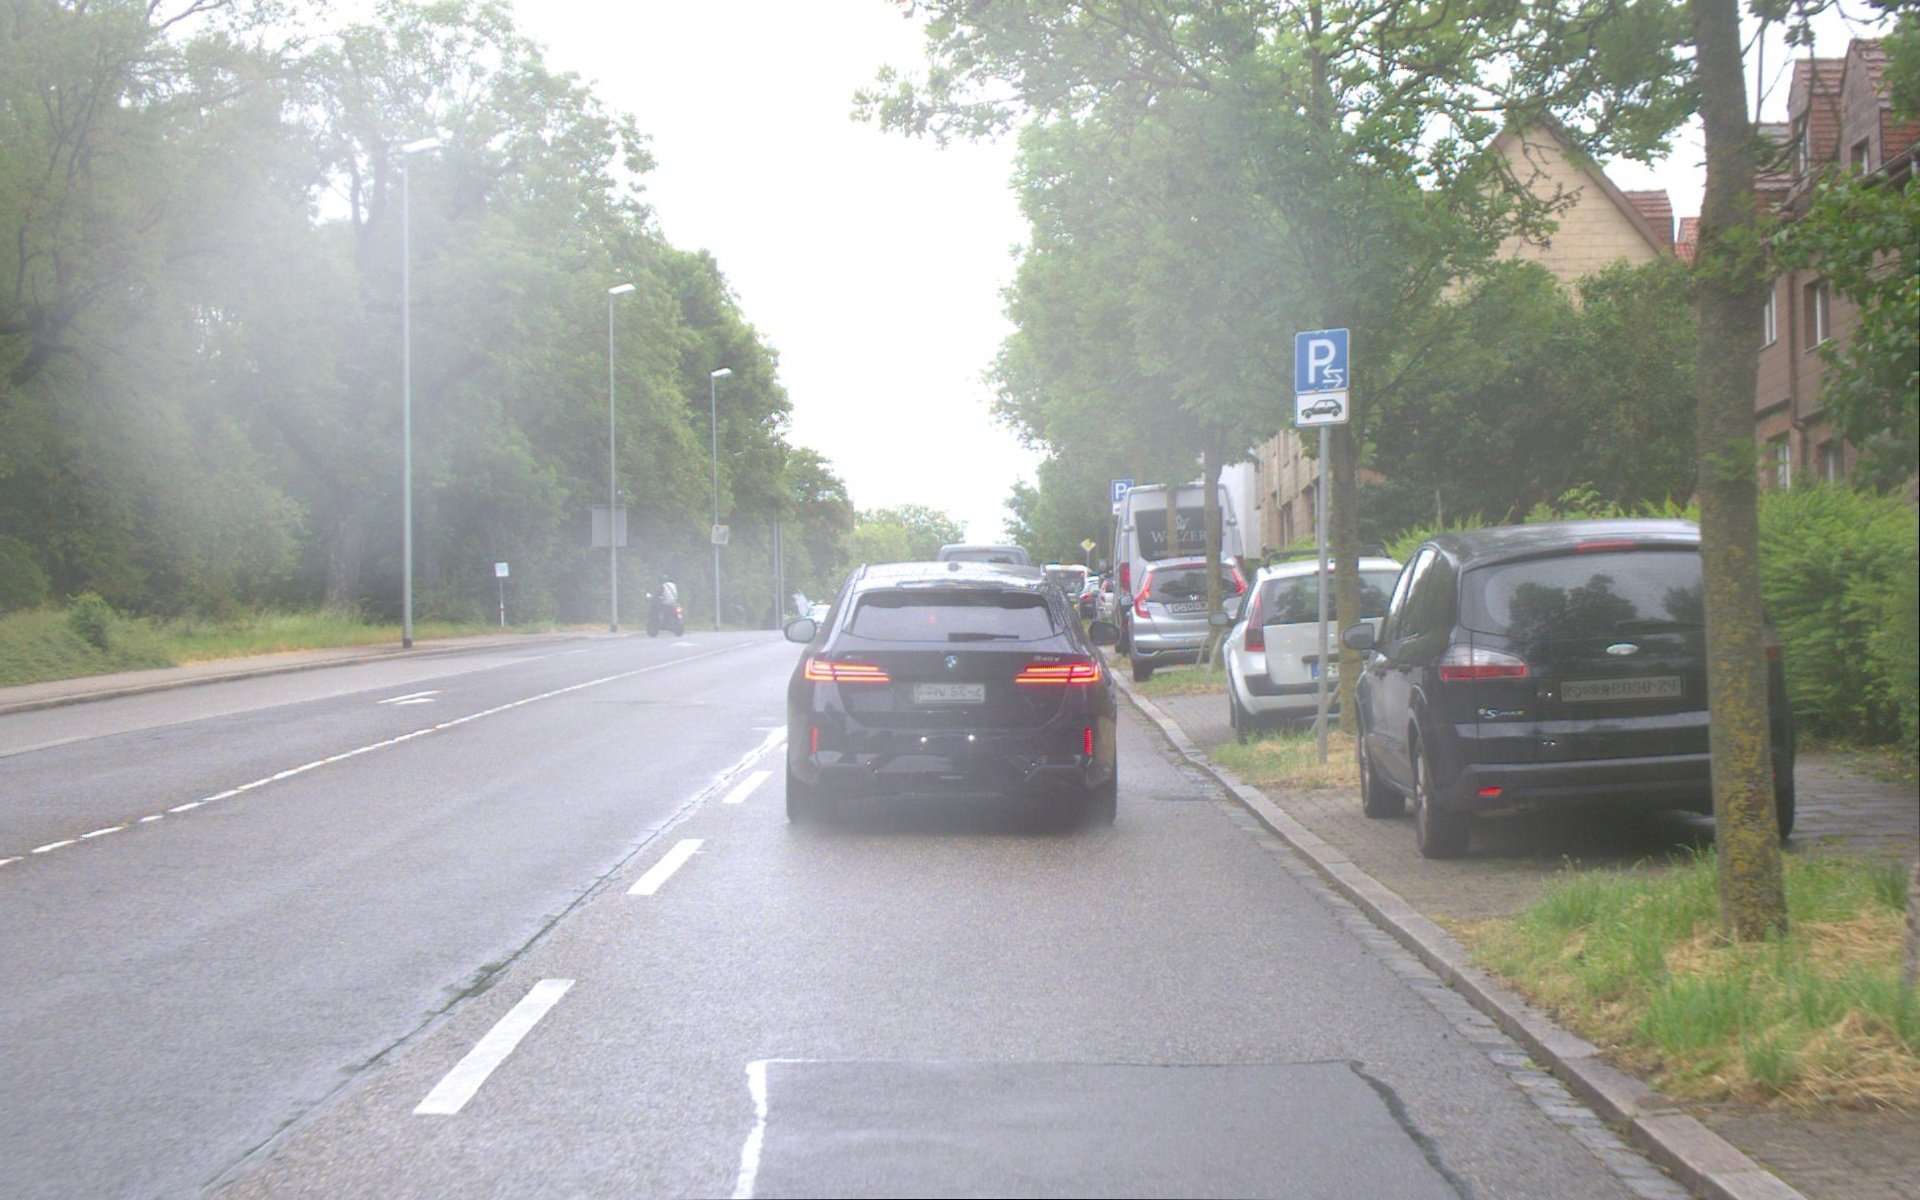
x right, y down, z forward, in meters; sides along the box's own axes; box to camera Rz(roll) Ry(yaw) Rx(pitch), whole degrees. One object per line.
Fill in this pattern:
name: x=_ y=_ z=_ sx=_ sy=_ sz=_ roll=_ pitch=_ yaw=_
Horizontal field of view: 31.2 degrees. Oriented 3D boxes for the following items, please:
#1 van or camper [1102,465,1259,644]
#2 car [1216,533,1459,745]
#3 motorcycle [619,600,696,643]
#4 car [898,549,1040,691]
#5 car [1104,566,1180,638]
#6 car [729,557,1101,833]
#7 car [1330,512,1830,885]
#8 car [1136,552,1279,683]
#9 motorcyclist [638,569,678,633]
van or camper: x=3.525 y=-0.728 z=56.178 sx=2.198 sy=2.642 sz=7.301 roll=-2 pitch=0 yaw=2
car: x=3.136 y=0.286 z=29.329 sx=1.824 sy=1.597 sz=4.473 roll=-2 pitch=0 yaw=4
motorcycle: x=-8.073 y=0.562 z=91.628 sx=2.188 sy=1.114 sz=0.822 roll=1 pitch=1 yaw=45
car: x=0.175 y=0.299 z=50.822 sx=1.993 sy=2.007 sz=4.000 roll=0 pitch=0 yaw=2
car: x=4.435 y=0.031 z=84.257 sx=1.702 sy=1.579 sz=4.642 roll=-4 pitch=0 yaw=2
car: x=-0.256 y=0.529 z=20.851 sx=1.993 sy=1.448 sz=4.000 roll=2 pitch=0 yaw=0
car: x=3.155 y=0.441 z=18.426 sx=1.824 sy=1.672 sz=4.584 roll=-2 pitch=0 yaw=1
car: x=3.172 y=0.208 z=44.327 sx=1.668 sy=1.523 sz=3.831 roll=-4 pitch=0 yaw=4
motorcyclist: x=-8.037 y=0.026 z=91.584 sx=0.651 sy=1.675 sz=0.811 roll=1 pitch=0 yaw=45
